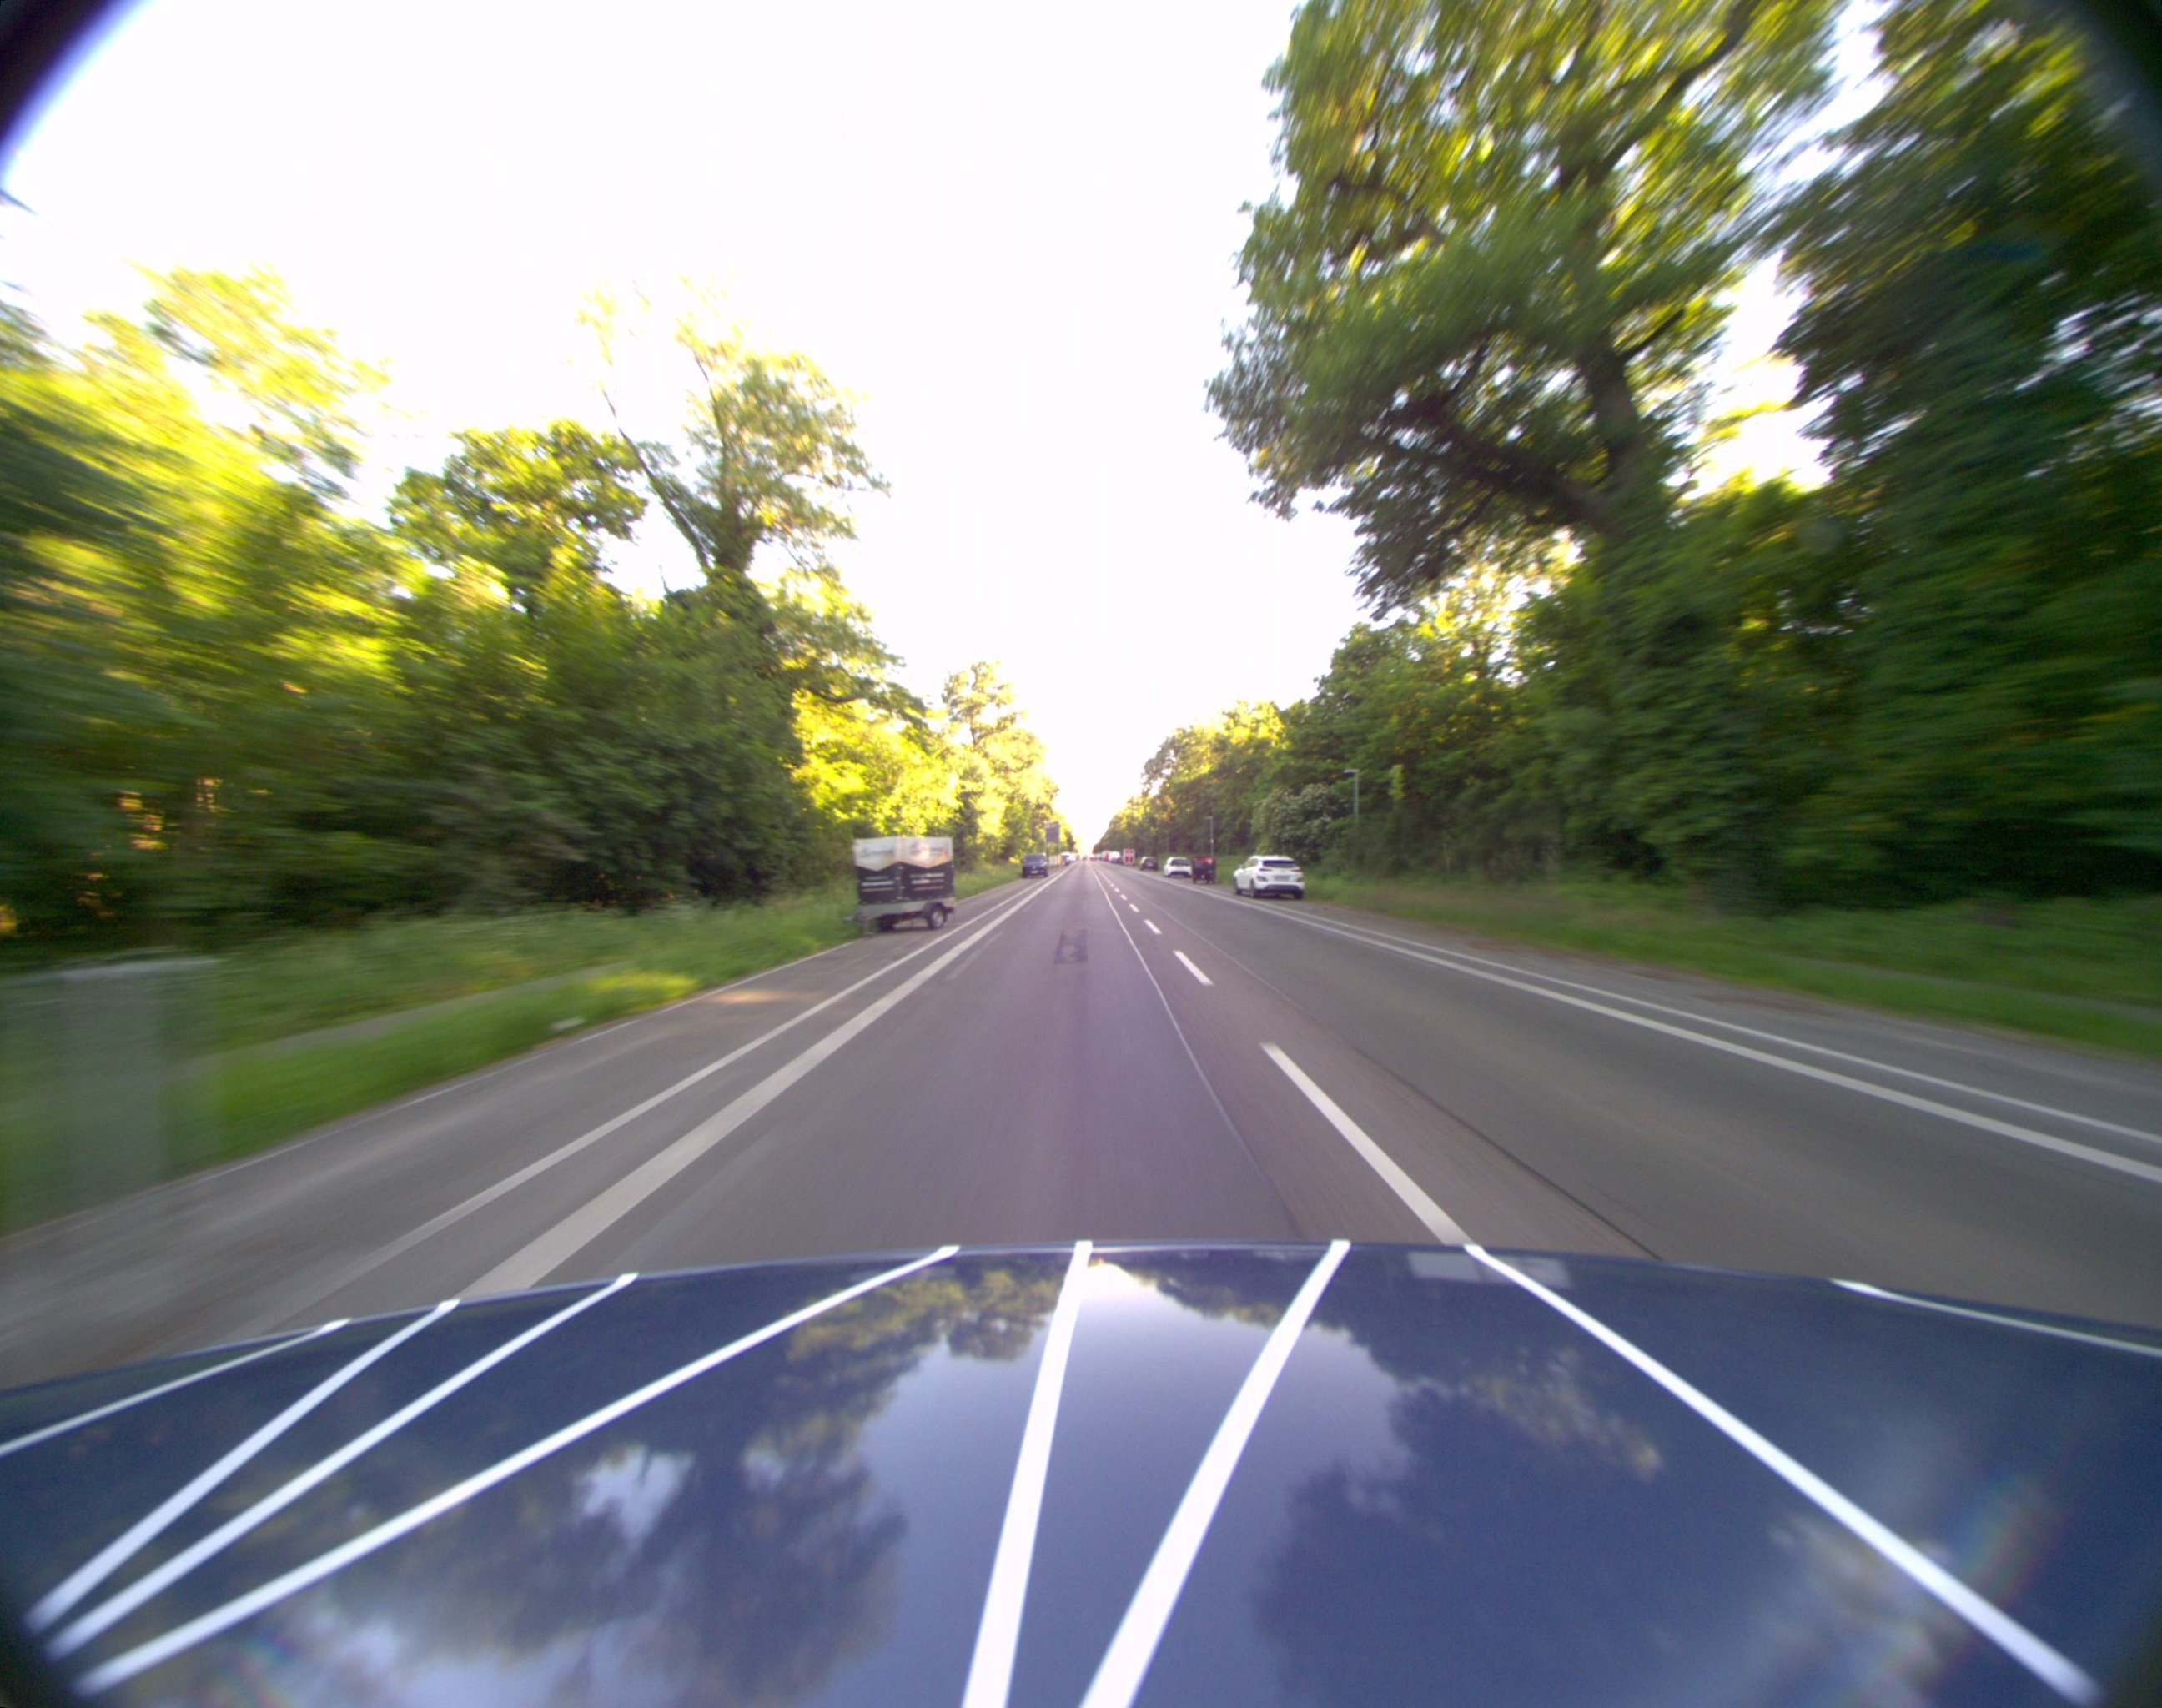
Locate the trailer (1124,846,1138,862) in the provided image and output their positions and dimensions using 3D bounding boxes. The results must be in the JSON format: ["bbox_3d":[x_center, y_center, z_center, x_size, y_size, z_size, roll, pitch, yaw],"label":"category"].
[{"bbox_3d":[8.097,0.009,122.664,1.998,2.606,4.085,-1,0,1],"label":"trailer"}]

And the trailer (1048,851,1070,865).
[{"bbox_3d":[-3.202,0.566,112.132,1.964,2.011,3.849,-1,0,20],"label":"trailer"}]

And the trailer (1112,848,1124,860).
[{"bbox_3d":[8.259,-0.012,171.194,2.352,2.514,4.343,-1,0,-3],"label":"trailer"}]

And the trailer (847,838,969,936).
[{"bbox_3d":[-3.935,0.715,17.617,1.616,2.100,2.399,-2,1,21],"label":"trailer"}]

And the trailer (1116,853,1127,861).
[{"bbox_3d":[8.085,0.537,151.689,1.846,1.457,4.466,-1,0,0],"label":"trailer"}]

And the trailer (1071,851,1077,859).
[{"bbox_3d":[-1.988,0.307,228.966,1.759,2.149,3.539,-1,0,-1],"label":"trailer"}]

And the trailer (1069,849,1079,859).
[{"bbox_3d":[-2.285,-0.027,250.456,2.929,2.825,9.881,-4,1,-1],"label":"trailer"}]

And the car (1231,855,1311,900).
[{"bbox_3d":[7.083,0.820,28.762,1.819,1.562,4.206,1,0,-2],"label":"car"}]

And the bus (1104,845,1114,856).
[{"bbox_3d":[9.373,-1.094,255.507,2.835,3.411,11.199,-2,1,0],"label":"bus"}]

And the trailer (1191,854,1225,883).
[{"bbox_3d":[7.321,0.809,43.529,1.397,1.565,2.678,-1,0,21],"label":"trailer"}]

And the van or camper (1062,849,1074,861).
[{"bbox_3d":[-2.680,0.254,159.882,2.131,2.468,6.305,-1,0,1],"label":"van or camper"}]

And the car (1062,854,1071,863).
[{"bbox_3d":[-2.562,0.713,134.318,1.590,1.521,3.011,-3,0,0],"label":"car"}]

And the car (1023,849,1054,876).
[{"bbox_3d":[-3.404,0.662,61.887,2.119,2.002,5.039,-3,0,1],"label":"car"}]

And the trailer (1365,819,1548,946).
[{"bbox_3d":[7.393,0.502,15.388,2.080,2.280,3.487,0,0,2],"label":"trailer"}]

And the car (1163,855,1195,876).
[{"bbox_3d":[7.251,0.800,56.603,1.871,1.442,4.071,2,0,0],"label":"car"}]

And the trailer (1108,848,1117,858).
[{"bbox_3d":[7.957,-0.162,192.996,2.072,2.466,3.560,-1,0,-3],"label":"trailer"}]

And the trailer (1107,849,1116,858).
[{"bbox_3d":[8.418,-0.036,208.208,2.072,2.466,3.560,-1,0,-3],"label":"trailer"}]

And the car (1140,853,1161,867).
[{"bbox_3d":[7.566,0.670,83.248,1.859,1.456,4.784,-1,0,0],"label":"car"}]

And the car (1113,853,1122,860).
[{"bbox_3d":[7.863,0.545,164.880,1.675,1.486,4.194,2,1,1],"label":"car"}]
